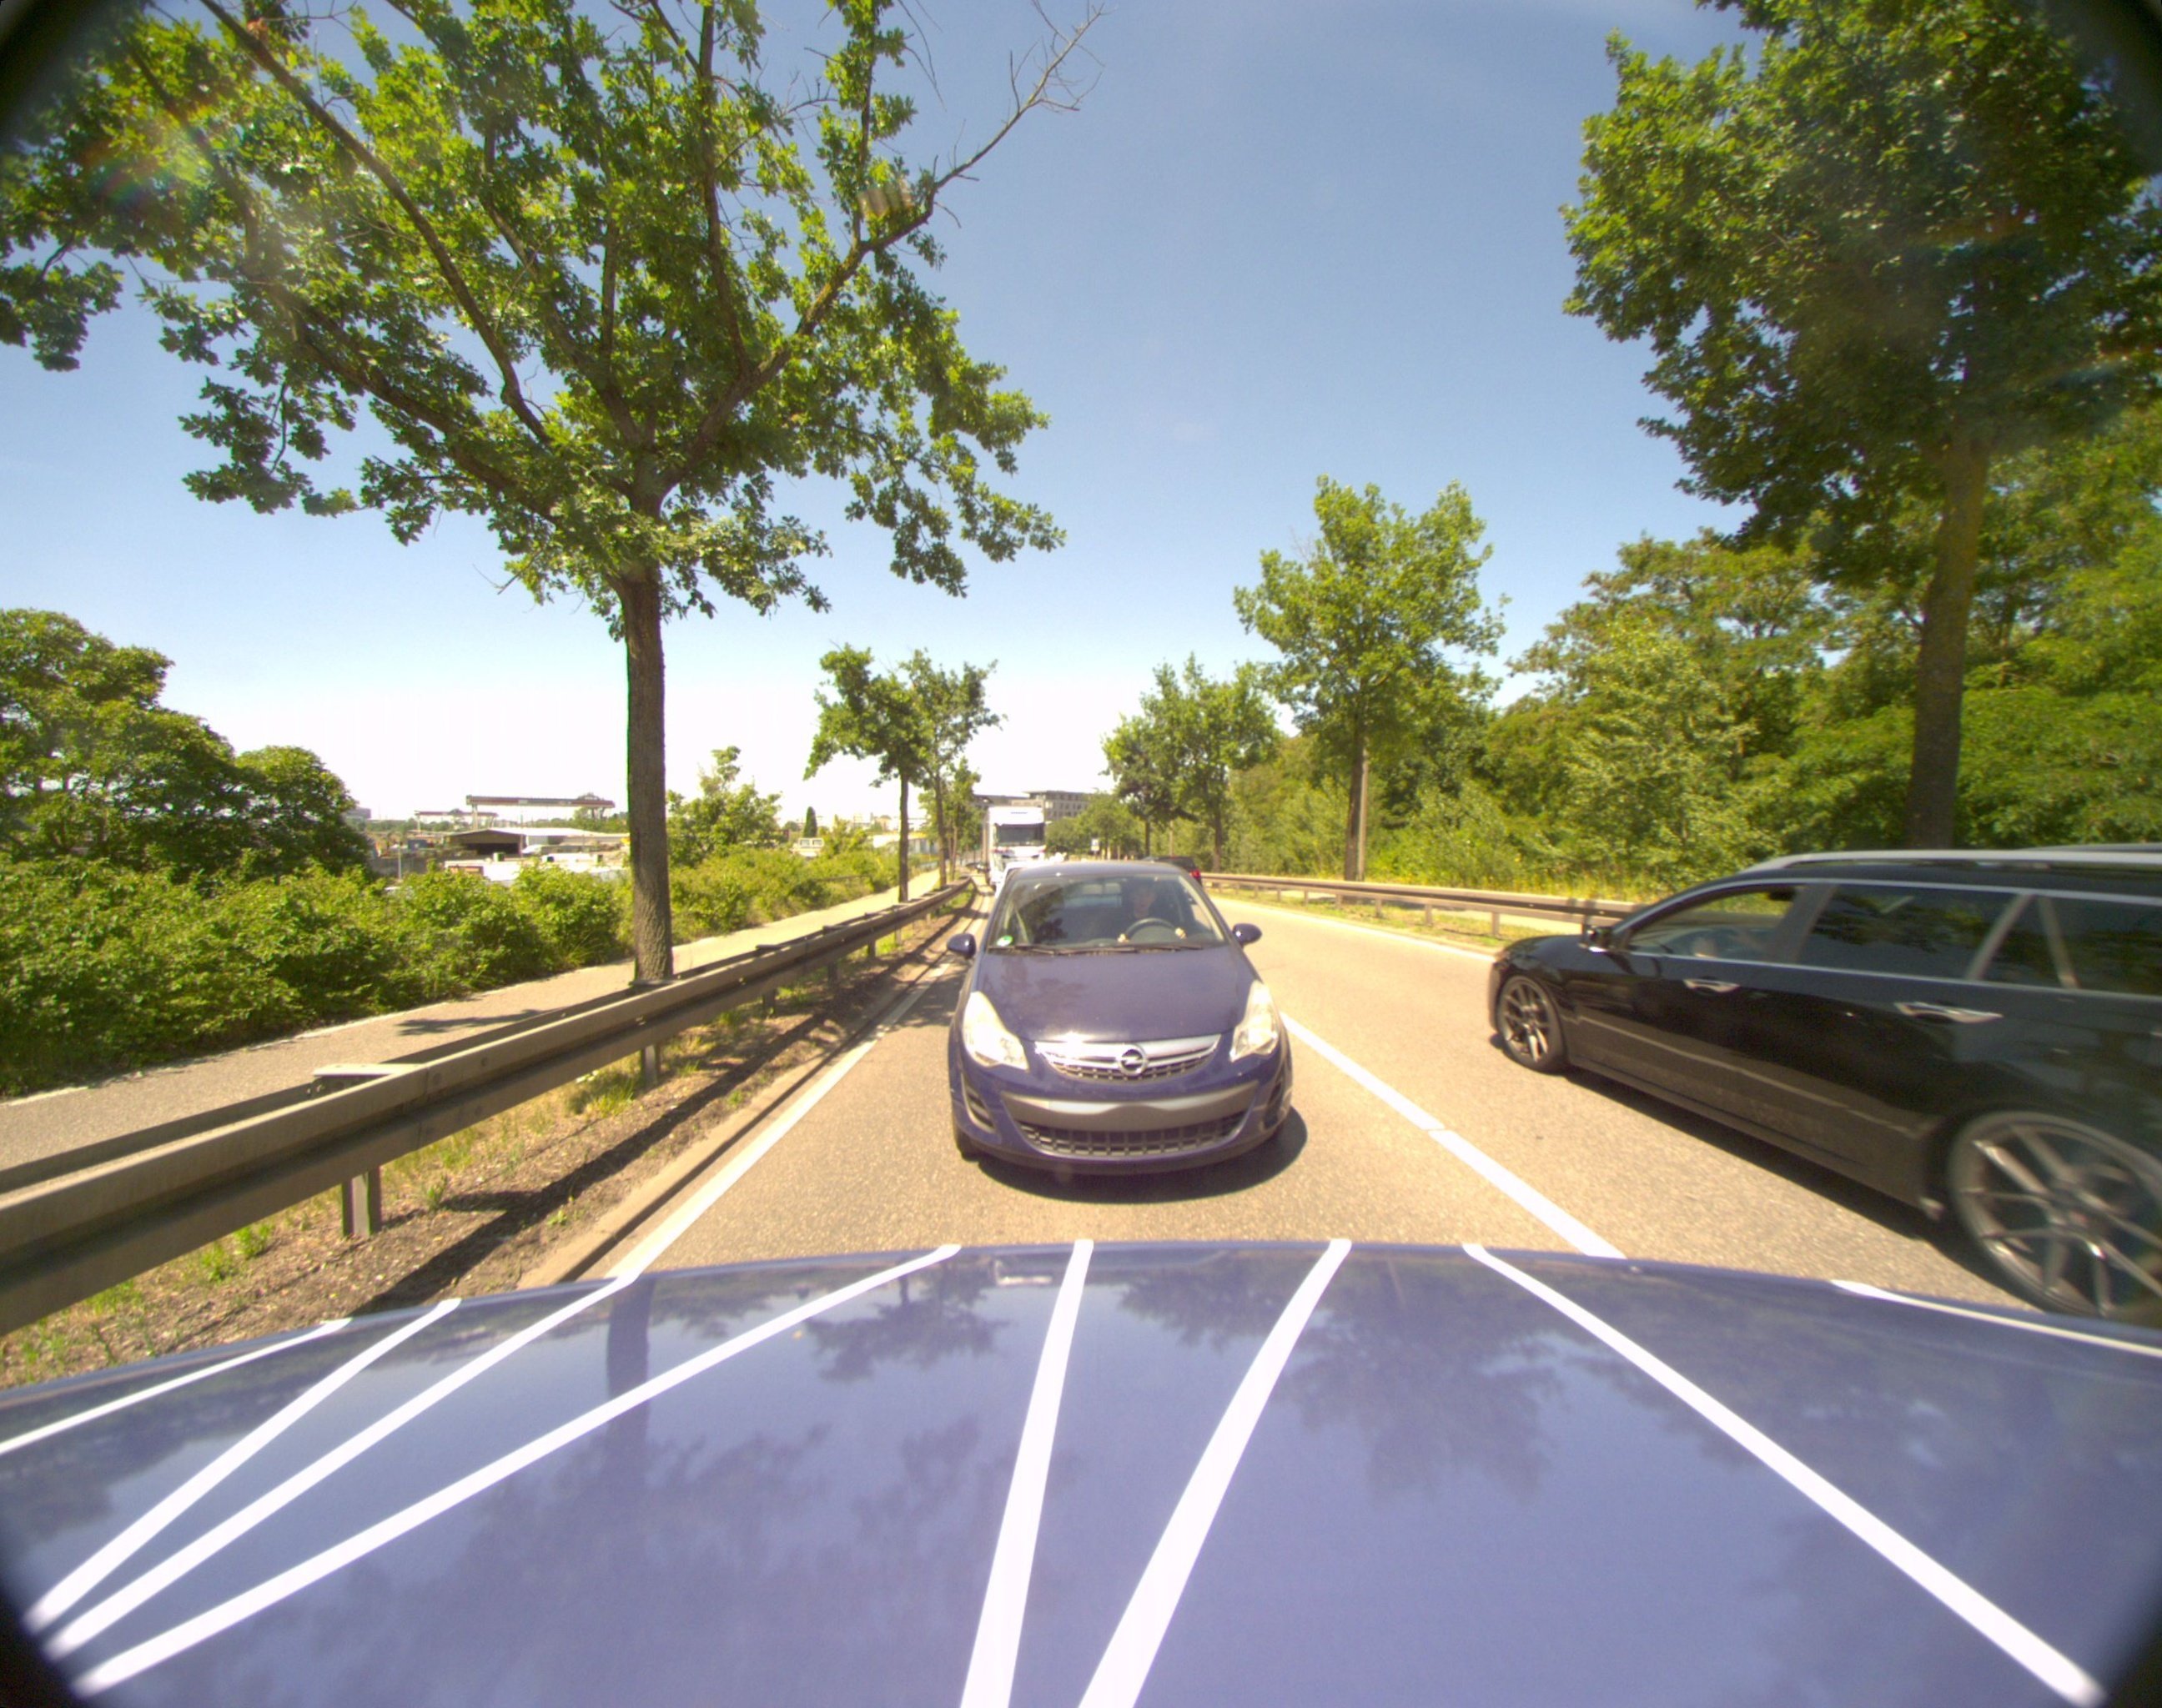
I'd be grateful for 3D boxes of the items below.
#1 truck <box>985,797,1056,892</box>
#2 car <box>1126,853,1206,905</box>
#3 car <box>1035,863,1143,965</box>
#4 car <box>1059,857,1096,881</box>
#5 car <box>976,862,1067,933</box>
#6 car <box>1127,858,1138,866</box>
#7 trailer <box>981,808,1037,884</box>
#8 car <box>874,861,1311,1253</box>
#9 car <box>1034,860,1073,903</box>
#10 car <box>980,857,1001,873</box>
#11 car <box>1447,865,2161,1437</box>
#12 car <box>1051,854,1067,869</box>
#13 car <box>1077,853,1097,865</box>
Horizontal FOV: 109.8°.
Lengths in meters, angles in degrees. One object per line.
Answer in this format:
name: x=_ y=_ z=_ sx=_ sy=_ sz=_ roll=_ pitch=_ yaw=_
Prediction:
truck: x=-3.295 y=-0.456 z=38.889 sx=2.859 sy=4.244 sz=8.808 roll=-2 pitch=0 yaw=-9
car: x=2.603 y=0.733 z=24.066 sx=1.750 sy=1.483 sz=3.732 roll=-1 pitch=0 yaw=-5
car: x=0.090 y=0.916 z=13.381 sx=1.569 sy=1.408 sz=4.121 roll=-2 pitch=0 yaw=-1
car: x=-0.267 y=0.910 z=47.341 sx=1.613 sy=1.374 sz=3.843 roll=-1 pitch=0 yaw=-10
car: x=-1.308 y=0.958 z=18.176 sx=1.816 sy=1.420 sz=3.715 roll=-2 pitch=0 yaw=1
car: x=10.542 y=1.628 z=155.163 sx=1.739 sy=1.406 sz=3.496 roll=-1 pitch=0 yaw=12
trailer: x=-4.942 y=-0.455 z=49.702 sx=2.882 sy=4.189 sz=13.997 roll=-1 pitch=0 yaw=-8
car: x=0.069 y=0.834 z=5.214 sx=1.698 sy=1.459 sz=4.383 roll=-2 pitch=0 yaw=1
car: x=-0.980 y=0.930 z=26.966 sx=1.250 sy=1.376 sz=3.103 roll=-2 pitch=0 yaw=-2
car: x=-9.286 y=1.099 z=78.106 sx=1.976 sy=1.567 sz=3.998 roll=-1 pitch=0 yaw=-5
car: x=3.747 y=0.816 z=3.382 sx=1.881 sy=1.372 sz=4.669 roll=-2 pitch=0 yaw=-1
car: x=-2.288 y=0.737 z=77.536 sx=1.537 sy=1.406 sz=3.552 roll=-1 pitch=0 yaw=-3
car: x=0.780 y=0.567 z=93.344 sx=1.702 sy=1.406 sz=3.962 roll=-1 pitch=0 yaw=12
